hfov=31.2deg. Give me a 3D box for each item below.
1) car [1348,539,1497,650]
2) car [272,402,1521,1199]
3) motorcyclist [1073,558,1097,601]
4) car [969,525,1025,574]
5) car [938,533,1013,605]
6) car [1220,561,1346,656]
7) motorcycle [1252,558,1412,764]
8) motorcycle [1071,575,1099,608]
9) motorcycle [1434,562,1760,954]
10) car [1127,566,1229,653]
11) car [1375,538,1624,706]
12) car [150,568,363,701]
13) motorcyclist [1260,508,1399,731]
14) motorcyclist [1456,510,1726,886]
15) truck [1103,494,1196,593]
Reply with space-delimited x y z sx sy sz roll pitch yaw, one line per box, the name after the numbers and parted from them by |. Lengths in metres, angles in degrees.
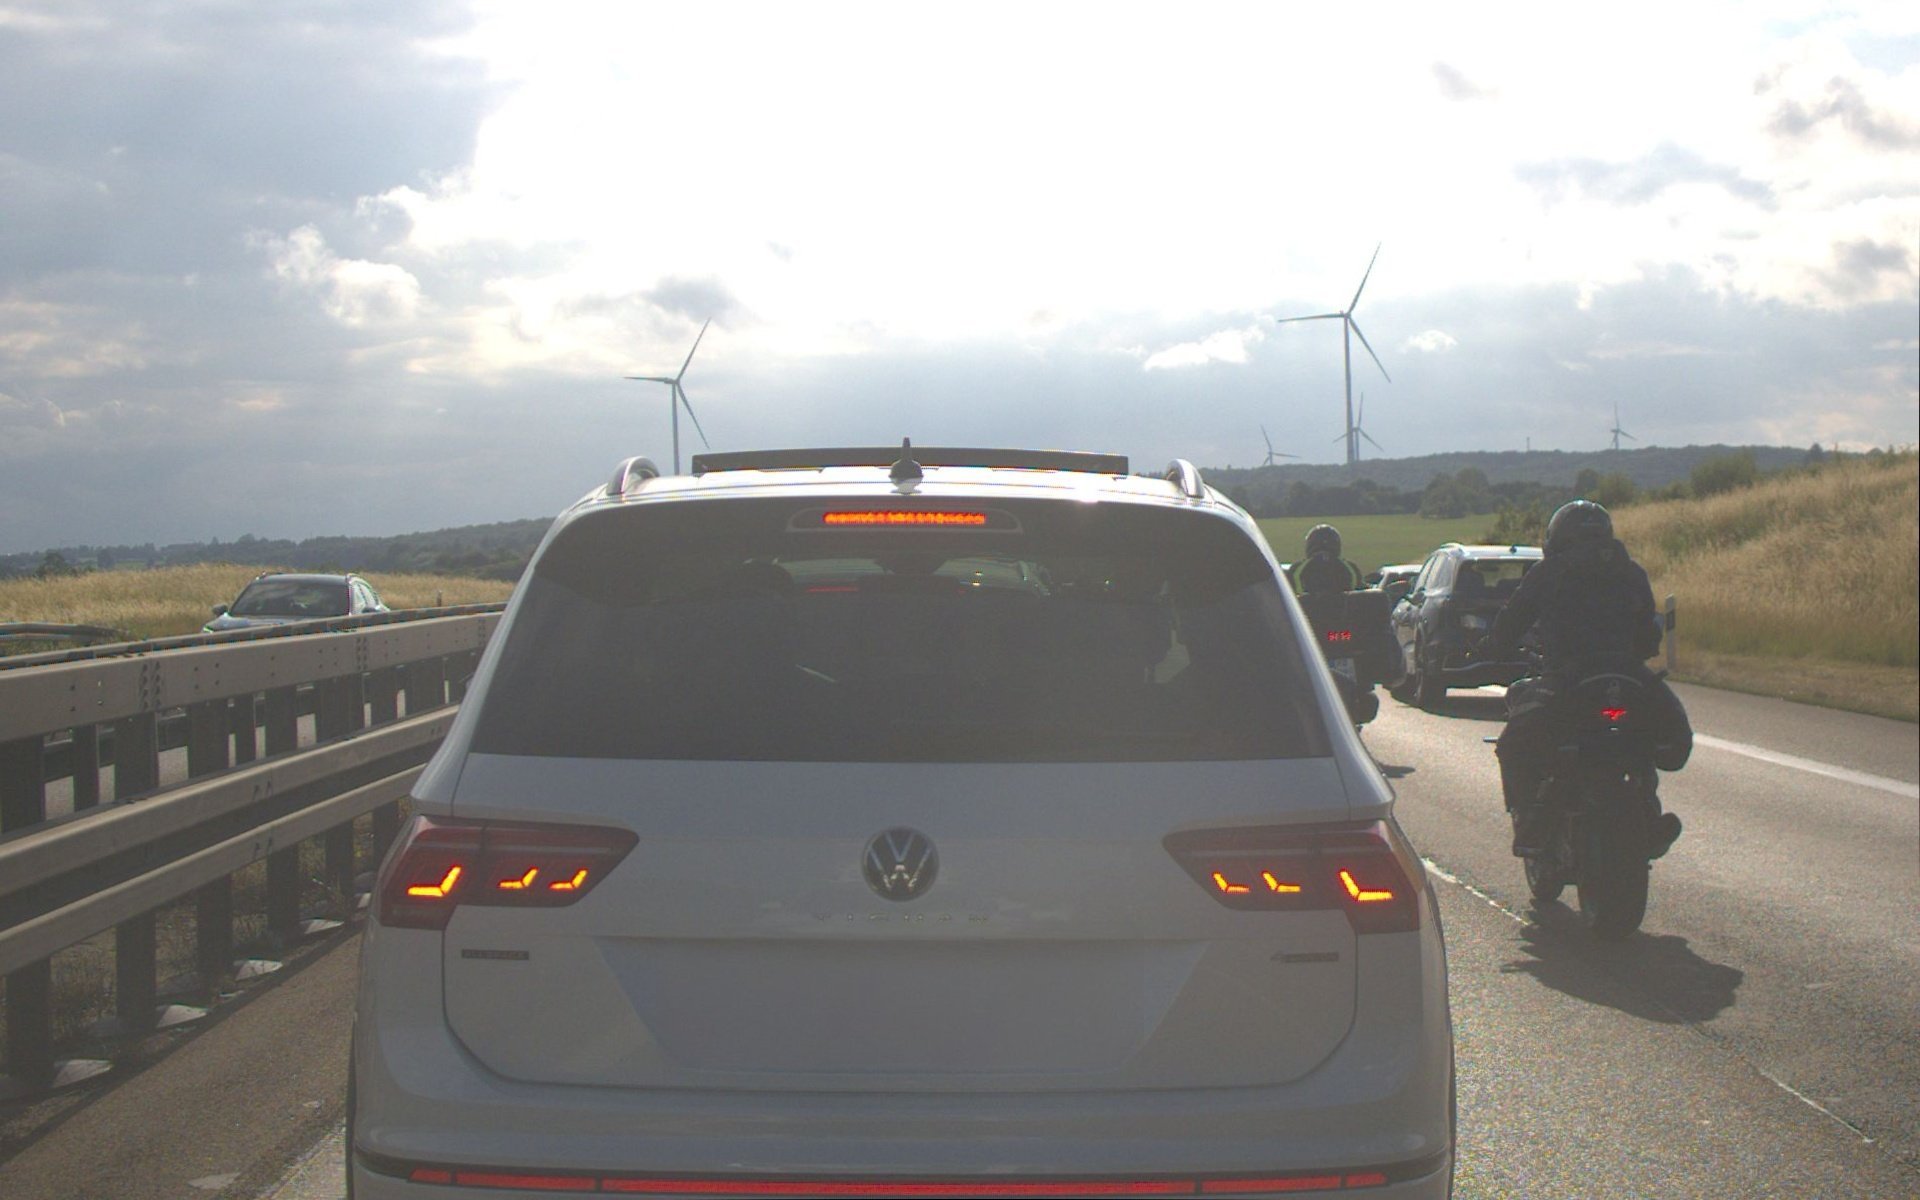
6.110 -0.089 45.716 1.606 1.415 3.672 0 0 2 | car
-0.109 0.537 6.879 1.770 1.670 4.000 0 0 -1 | car
4.549 -0.753 125.153 0.849 1.554 0.934 0 0 -1 | motorcyclist
1.173 -1.609 110.020 1.704 1.540 4.000 0 0 -1 | car
0.337 -0.724 80.217 1.704 1.644 4.000 0 0 -1 | car
5.411 0.122 58.021 1.704 1.540 4.000 0 0 -1 | car
2.724 0.421 25.411 0.895 1.450 2.269 0 0 -1 | motorcycle
4.546 -0.324 125.201 0.895 1.186 2.257 0 0 -1 | motorcycle
2.493 0.574 13.703 0.895 1.450 1.982 0 0 -1 | motorcycle
4.242 0.168 67.292 1.704 1.644 4.000 0 0 -1 | car
5.508 0.197 35.593 1.821 1.596 4.235 1 0 -1 | car
-8.224 0.369 40.491 1.732 1.480 4.000 0 0 -1 | car
2.720 0.139 25.389 0.895 1.611 1.022 0 0 -1 | motorcyclist
2.492 0.373 13.683 0.895 1.450 0.892 0 0 -1 | motorcyclist
7.091 -2.153 129.962 3.184 3.581 11.130 0 1 1 | truck
